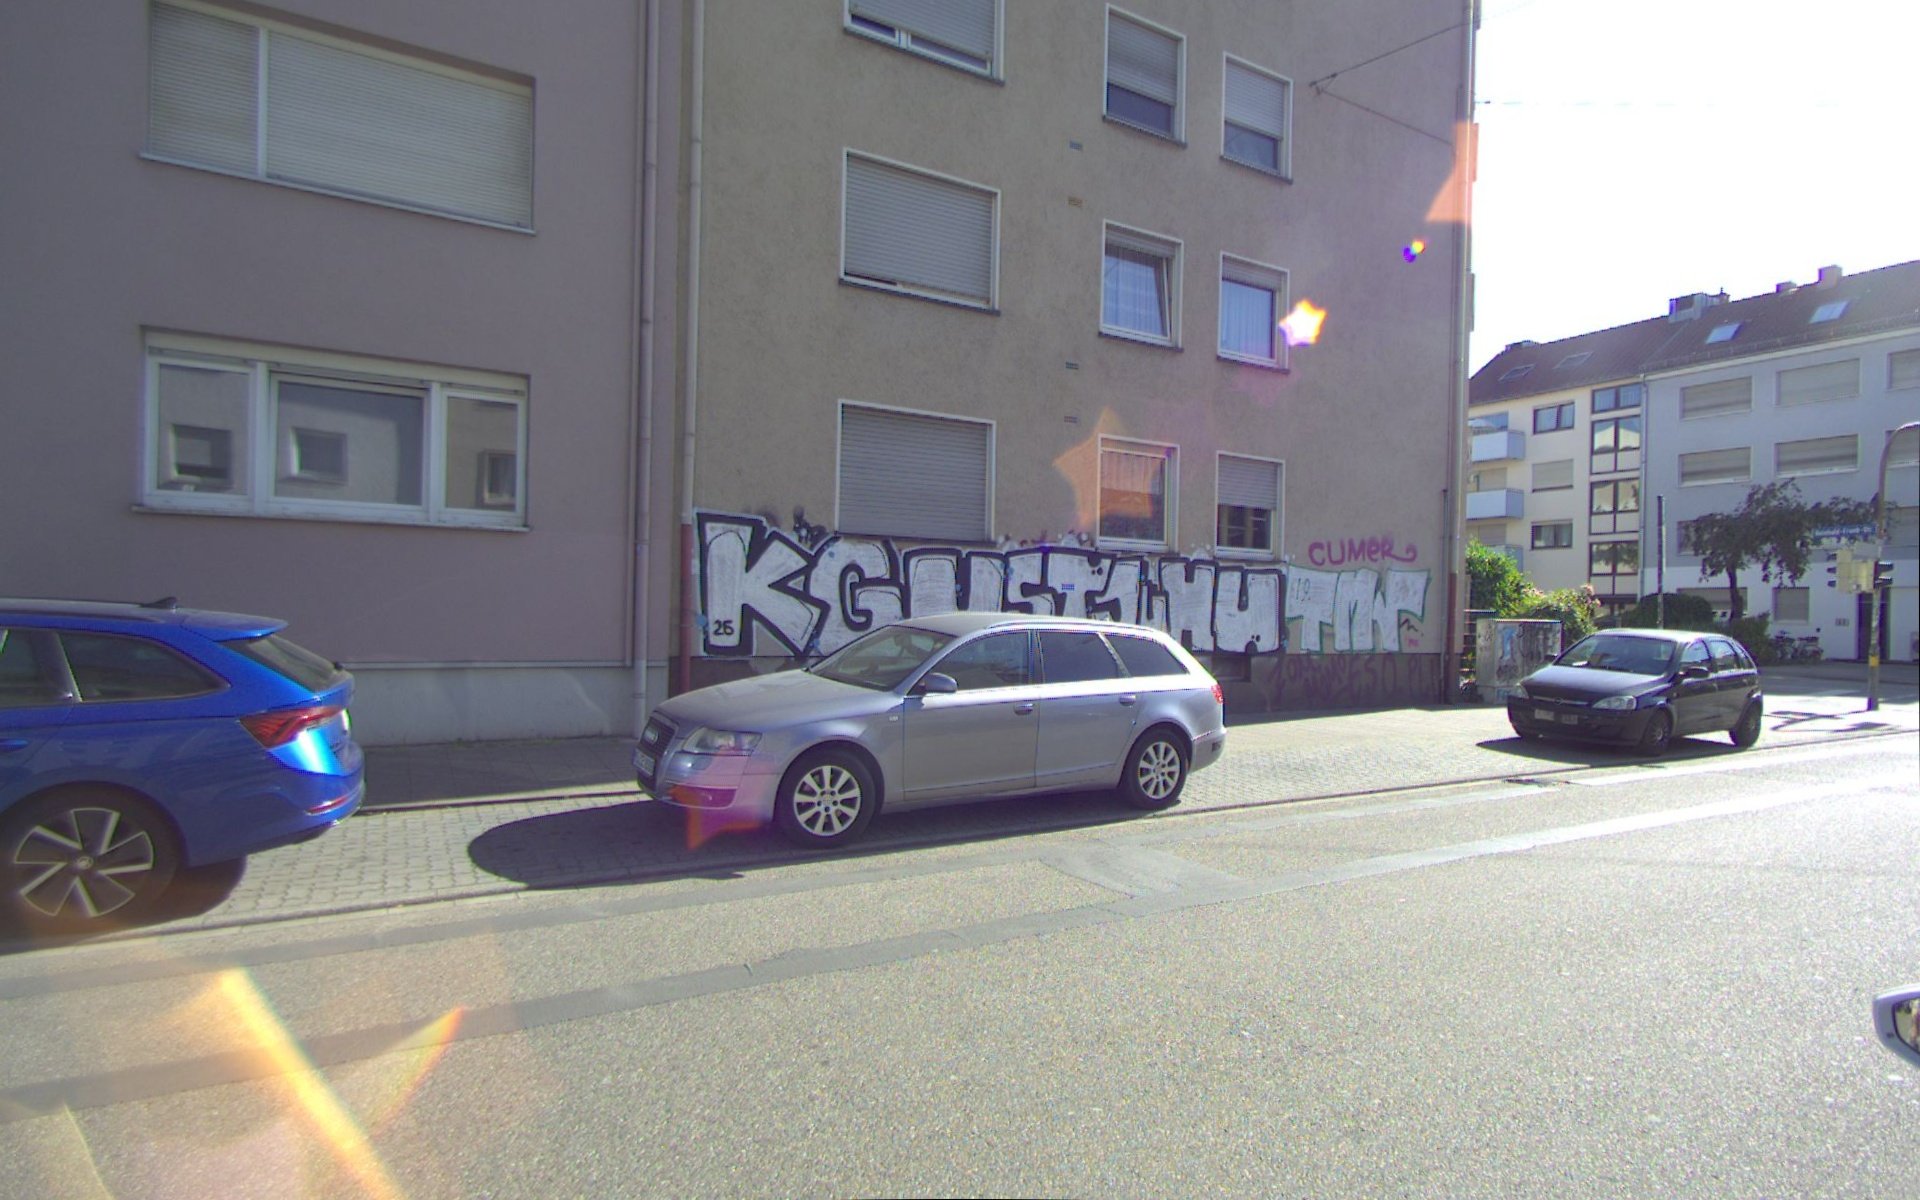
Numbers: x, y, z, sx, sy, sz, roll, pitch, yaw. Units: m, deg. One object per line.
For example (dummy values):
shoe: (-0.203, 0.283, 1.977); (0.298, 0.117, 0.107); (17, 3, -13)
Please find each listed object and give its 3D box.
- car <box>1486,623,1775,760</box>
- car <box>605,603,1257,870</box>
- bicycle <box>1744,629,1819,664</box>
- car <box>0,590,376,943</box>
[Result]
car: (8.565, 1.069, 12.782); (3.667, 1.444, 1.608); (1, 1, -31)
car: (-0.073, 0.832, 7.693); (4.759, 1.485, 1.709); (1, 1, -31)
bicycle: (29.699, 1.661, 36.367); (2.068, 1.188, 0.738); (0, -1, 37)
car: (-5.361, 0.705, 4.635); (4.558, 1.485, 1.709); (1, 1, -30)
